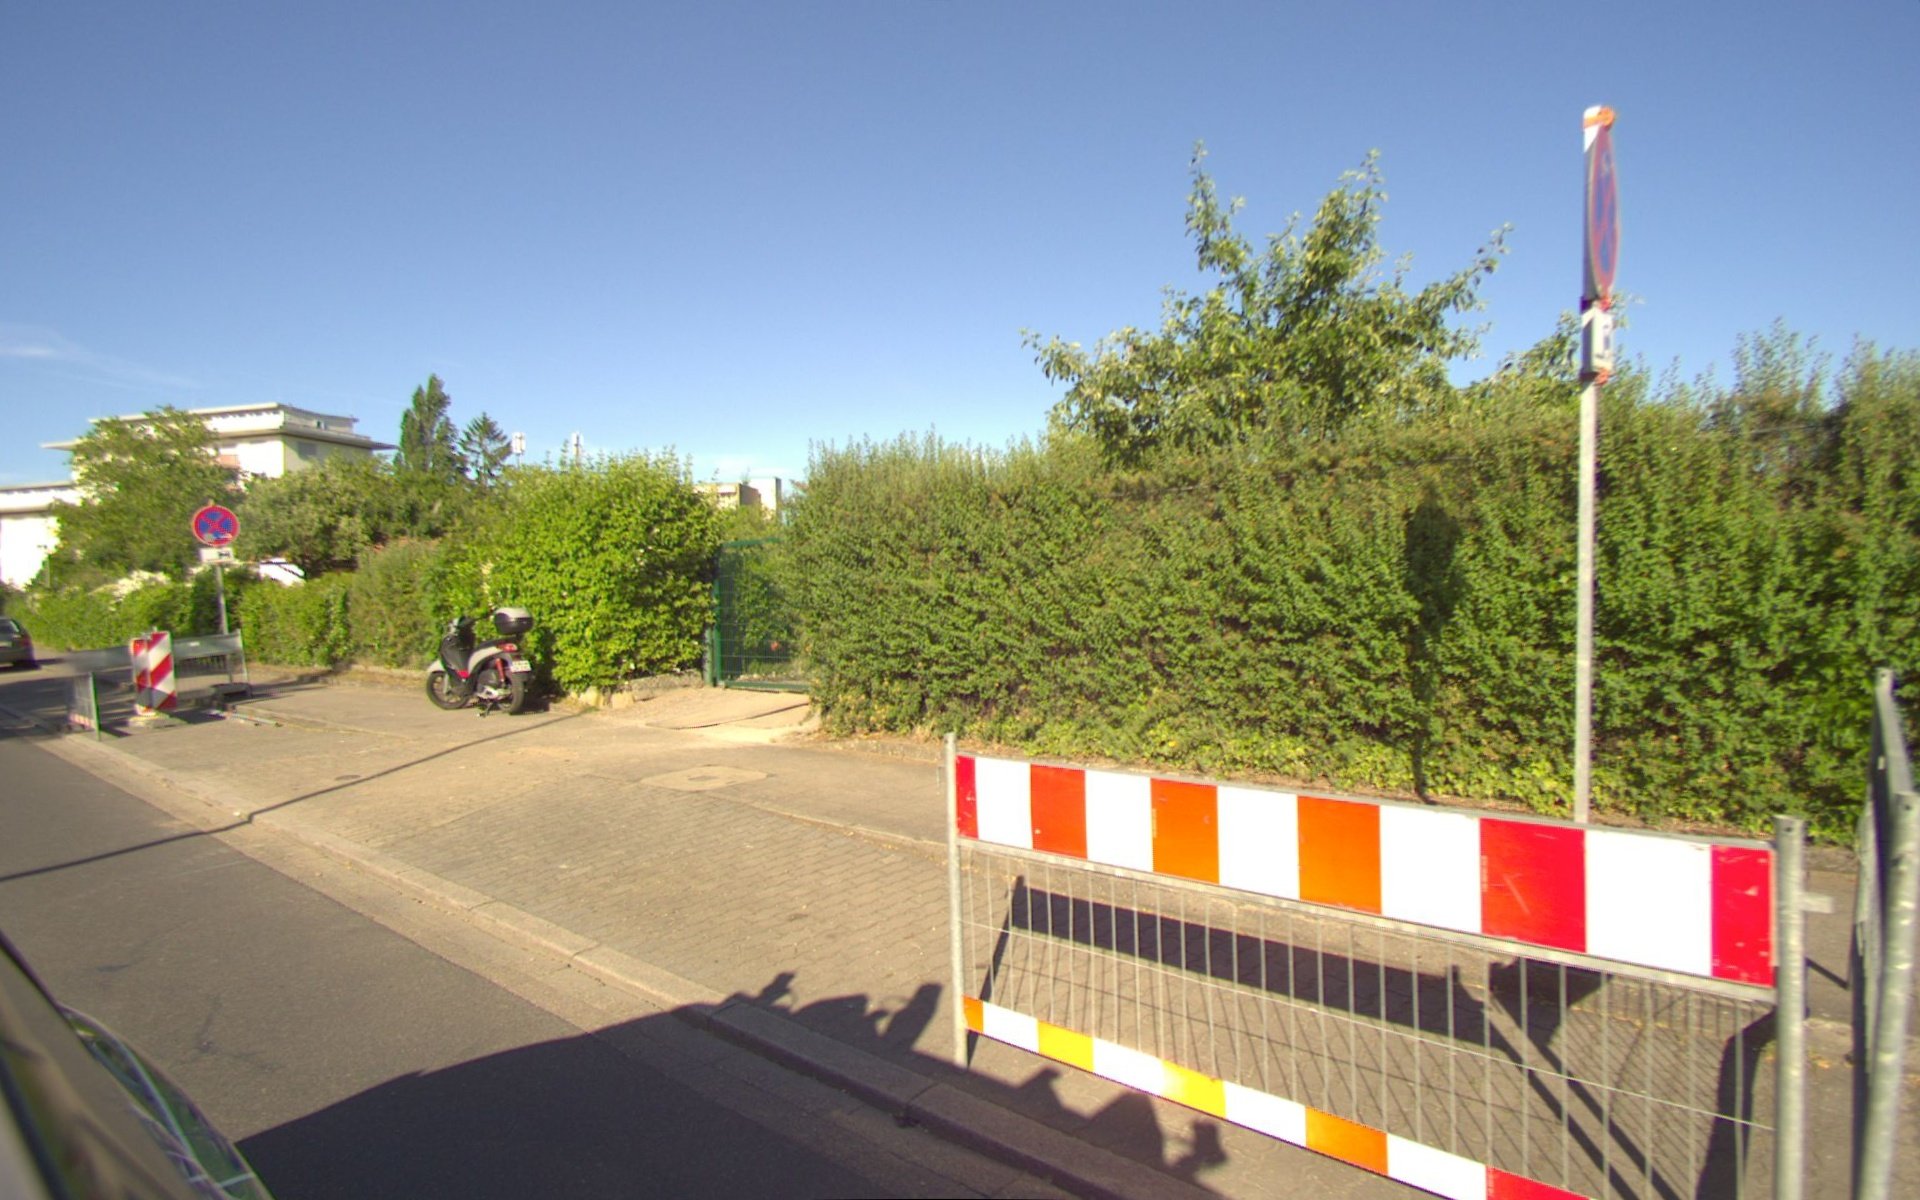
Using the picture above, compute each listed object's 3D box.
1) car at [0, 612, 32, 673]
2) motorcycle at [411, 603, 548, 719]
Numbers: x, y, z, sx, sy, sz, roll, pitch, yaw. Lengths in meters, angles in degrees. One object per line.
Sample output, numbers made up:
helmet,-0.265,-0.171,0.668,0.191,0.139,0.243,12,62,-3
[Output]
car,-26.431,1.123,27.250,4.415,1.568,1.626,-1,0,41
motorcycle,-5.815,0.683,12.198,2.088,1.277,0.561,0,2,37
